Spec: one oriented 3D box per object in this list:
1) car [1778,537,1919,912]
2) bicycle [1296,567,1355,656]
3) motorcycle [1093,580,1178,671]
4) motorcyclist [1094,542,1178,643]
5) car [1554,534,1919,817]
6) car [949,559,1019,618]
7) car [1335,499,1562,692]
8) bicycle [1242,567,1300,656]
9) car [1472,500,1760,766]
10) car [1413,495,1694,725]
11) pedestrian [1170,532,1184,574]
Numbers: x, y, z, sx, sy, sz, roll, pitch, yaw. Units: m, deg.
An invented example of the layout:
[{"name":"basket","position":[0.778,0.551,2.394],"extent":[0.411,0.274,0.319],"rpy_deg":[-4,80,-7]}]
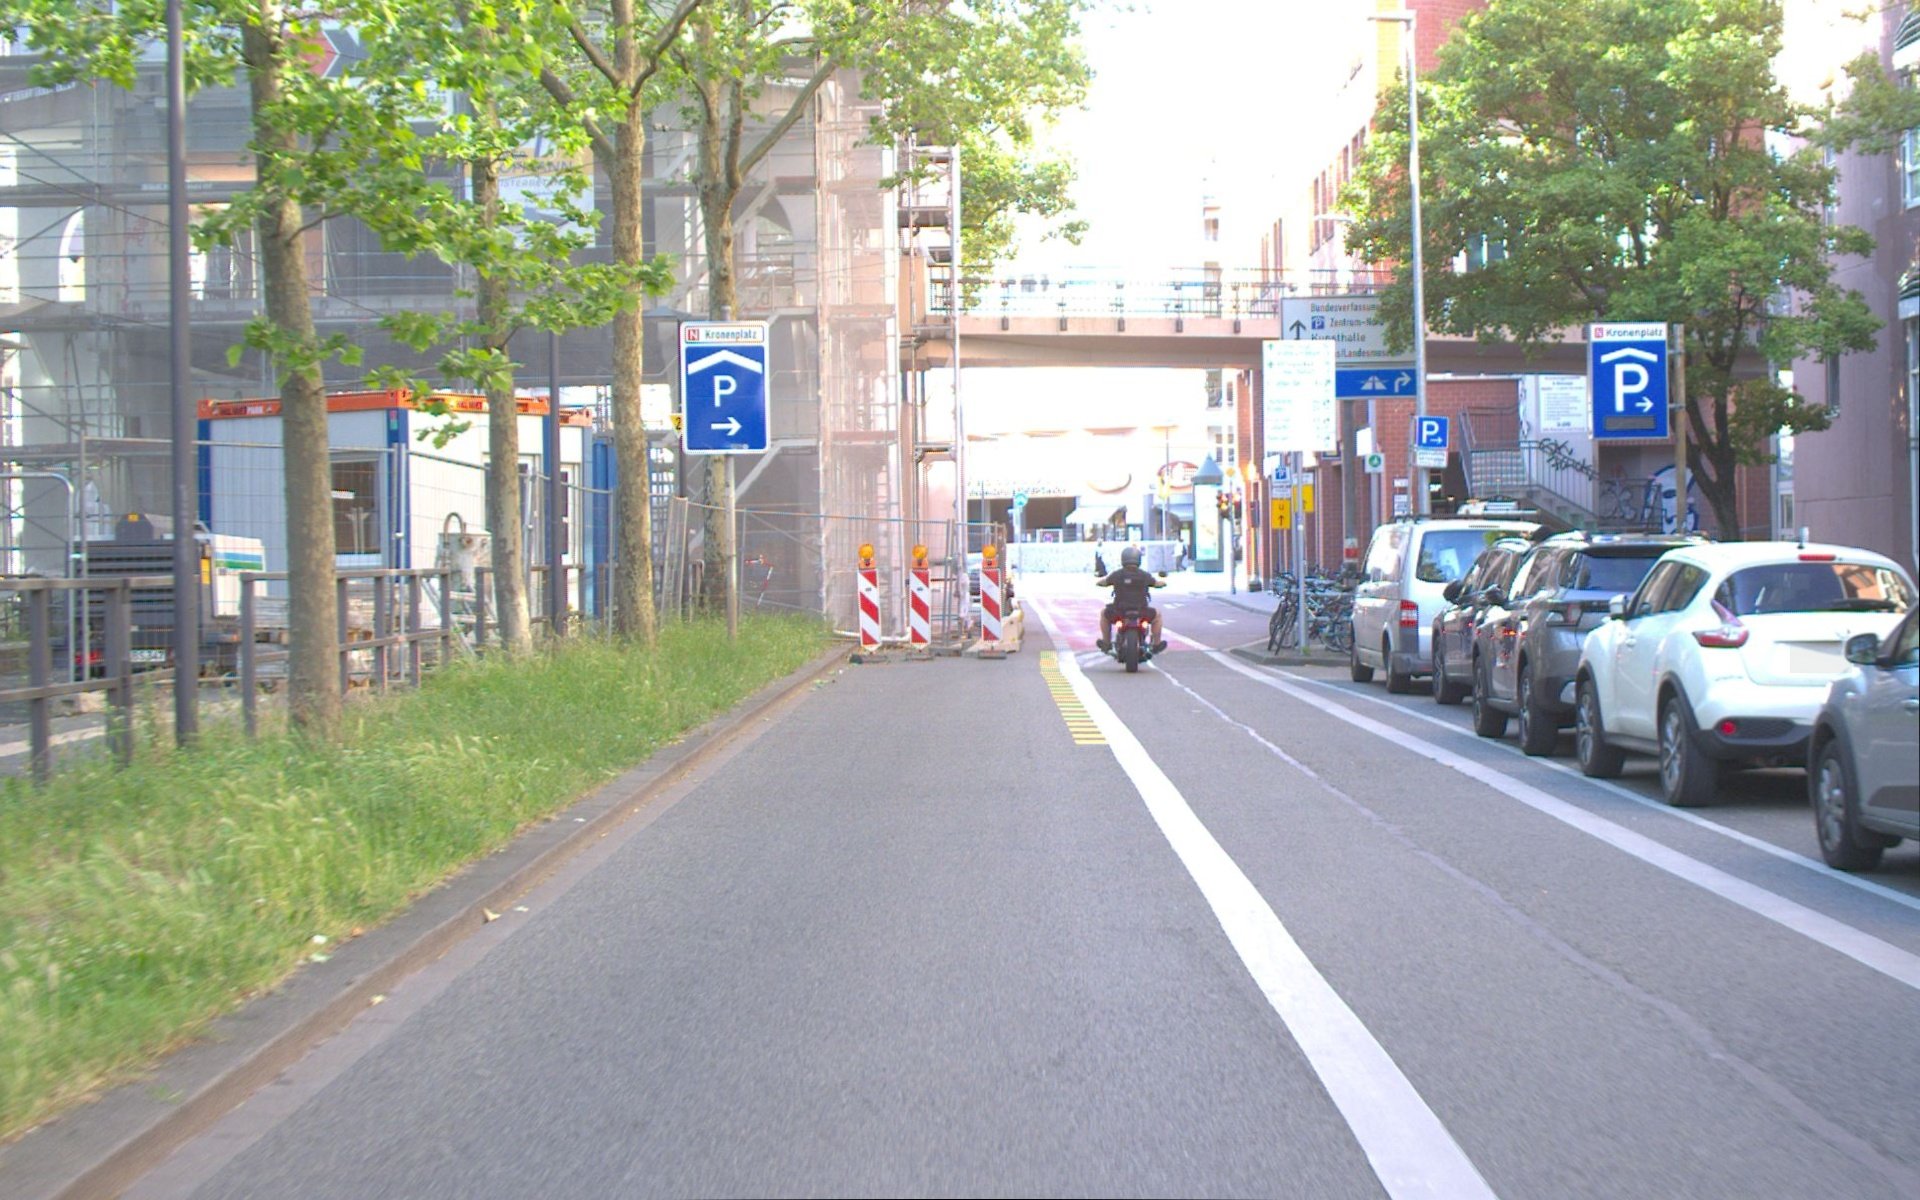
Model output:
[{"name":"car","position":[4.896,0.521,15.030],"extent":[1.620,1.598,3.775],"rpy_deg":[-1,1,-2]},{"name":"bicycle","position":[5.293,0.153,49.874],"extent":[0.664,1.230,2.228],"rpy_deg":[-1,1,1]},{"name":"motorcycle","position":[2.249,0.308,43.835],"extent":[1.018,1.093,2.007],"rpy_deg":[0,1,4]},{"name":"motorcyclist","position":[2.249,-0.103,43.916],"extent":[1.012,1.258,0.774],"rpy_deg":[2,1,5]},{"name":"car","position":[4.936,0.397,21.604],"extent":[1.620,1.604,3.775],"rpy_deg":[-1,1,-2]},{"name":"car","position":[0.705,-0.363,104.751],"extent":[1.851,1.711,4.001],"rpy_deg":[-1,1,-3]},{"name":"car","position":[5.371,-0.086,38.313],"extent":[1.835,2.007,4.388],"rpy_deg":[-1,1,-1]},{"name":"bicycle","position":[4.507,0.151,49.918],"extent":[0.664,1.230,2.228],"rpy_deg":[-1,1,1]},{"name":"car","position":[4.919,0.199,26.206],"extent":[1.620,1.859,3.774],"rpy_deg":[-1,1,3]},{"name":"car","position":[5.536,0.049,32.562],"extent":[1.835,2.007,4.388],"rpy_deg":[-1,1,-1]},{"name":"pedestrian","position":[9.793,-2.128,155.012],"extent":[0.541,1.875,0.529],"rpy_deg":[0,1,12]}]
